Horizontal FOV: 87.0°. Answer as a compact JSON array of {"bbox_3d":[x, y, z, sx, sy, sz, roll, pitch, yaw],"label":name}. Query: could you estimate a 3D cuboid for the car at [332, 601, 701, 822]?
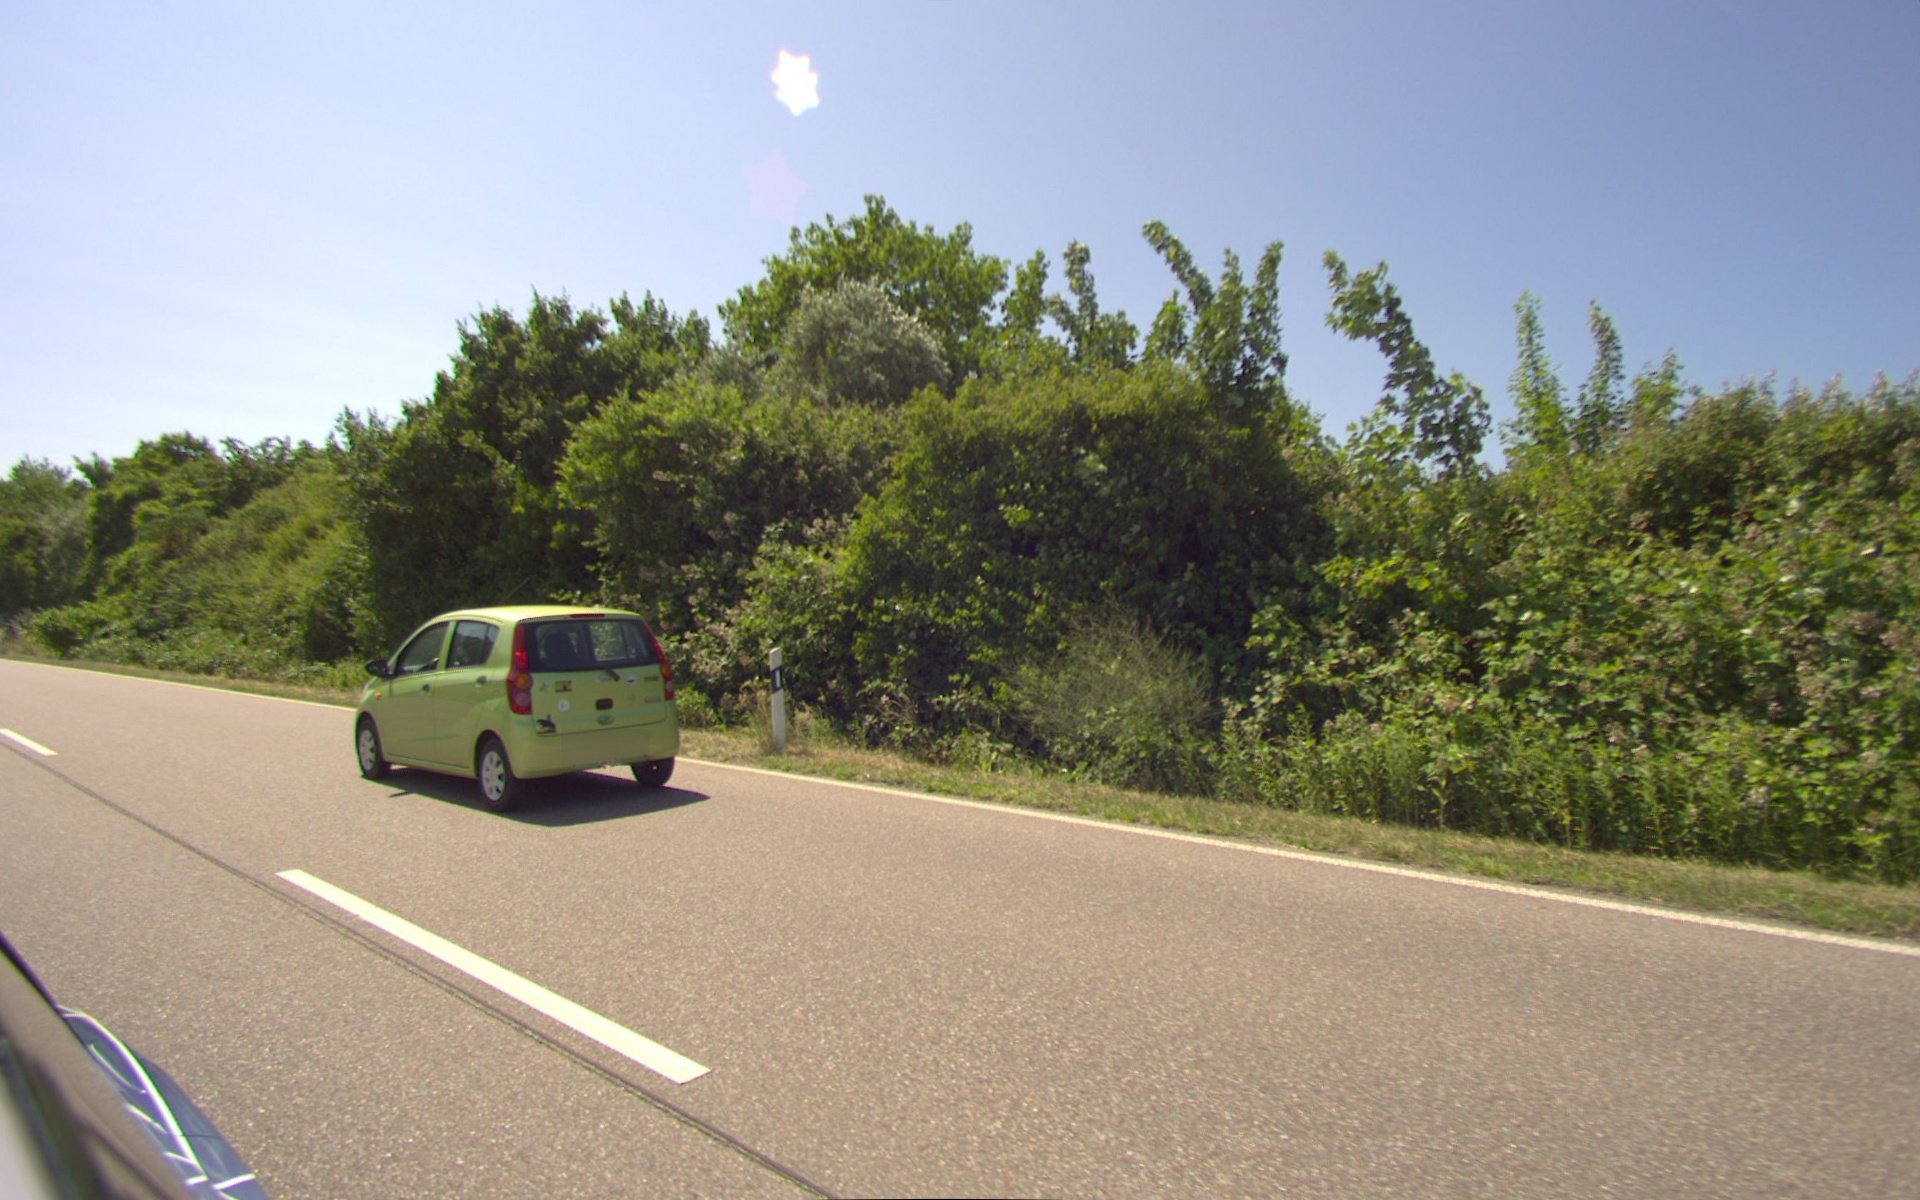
[{"bbox_3d":[-3.969,0.792,8.757,3.831,1.507,1.481,-1,-1,42],"label":"car"}]
